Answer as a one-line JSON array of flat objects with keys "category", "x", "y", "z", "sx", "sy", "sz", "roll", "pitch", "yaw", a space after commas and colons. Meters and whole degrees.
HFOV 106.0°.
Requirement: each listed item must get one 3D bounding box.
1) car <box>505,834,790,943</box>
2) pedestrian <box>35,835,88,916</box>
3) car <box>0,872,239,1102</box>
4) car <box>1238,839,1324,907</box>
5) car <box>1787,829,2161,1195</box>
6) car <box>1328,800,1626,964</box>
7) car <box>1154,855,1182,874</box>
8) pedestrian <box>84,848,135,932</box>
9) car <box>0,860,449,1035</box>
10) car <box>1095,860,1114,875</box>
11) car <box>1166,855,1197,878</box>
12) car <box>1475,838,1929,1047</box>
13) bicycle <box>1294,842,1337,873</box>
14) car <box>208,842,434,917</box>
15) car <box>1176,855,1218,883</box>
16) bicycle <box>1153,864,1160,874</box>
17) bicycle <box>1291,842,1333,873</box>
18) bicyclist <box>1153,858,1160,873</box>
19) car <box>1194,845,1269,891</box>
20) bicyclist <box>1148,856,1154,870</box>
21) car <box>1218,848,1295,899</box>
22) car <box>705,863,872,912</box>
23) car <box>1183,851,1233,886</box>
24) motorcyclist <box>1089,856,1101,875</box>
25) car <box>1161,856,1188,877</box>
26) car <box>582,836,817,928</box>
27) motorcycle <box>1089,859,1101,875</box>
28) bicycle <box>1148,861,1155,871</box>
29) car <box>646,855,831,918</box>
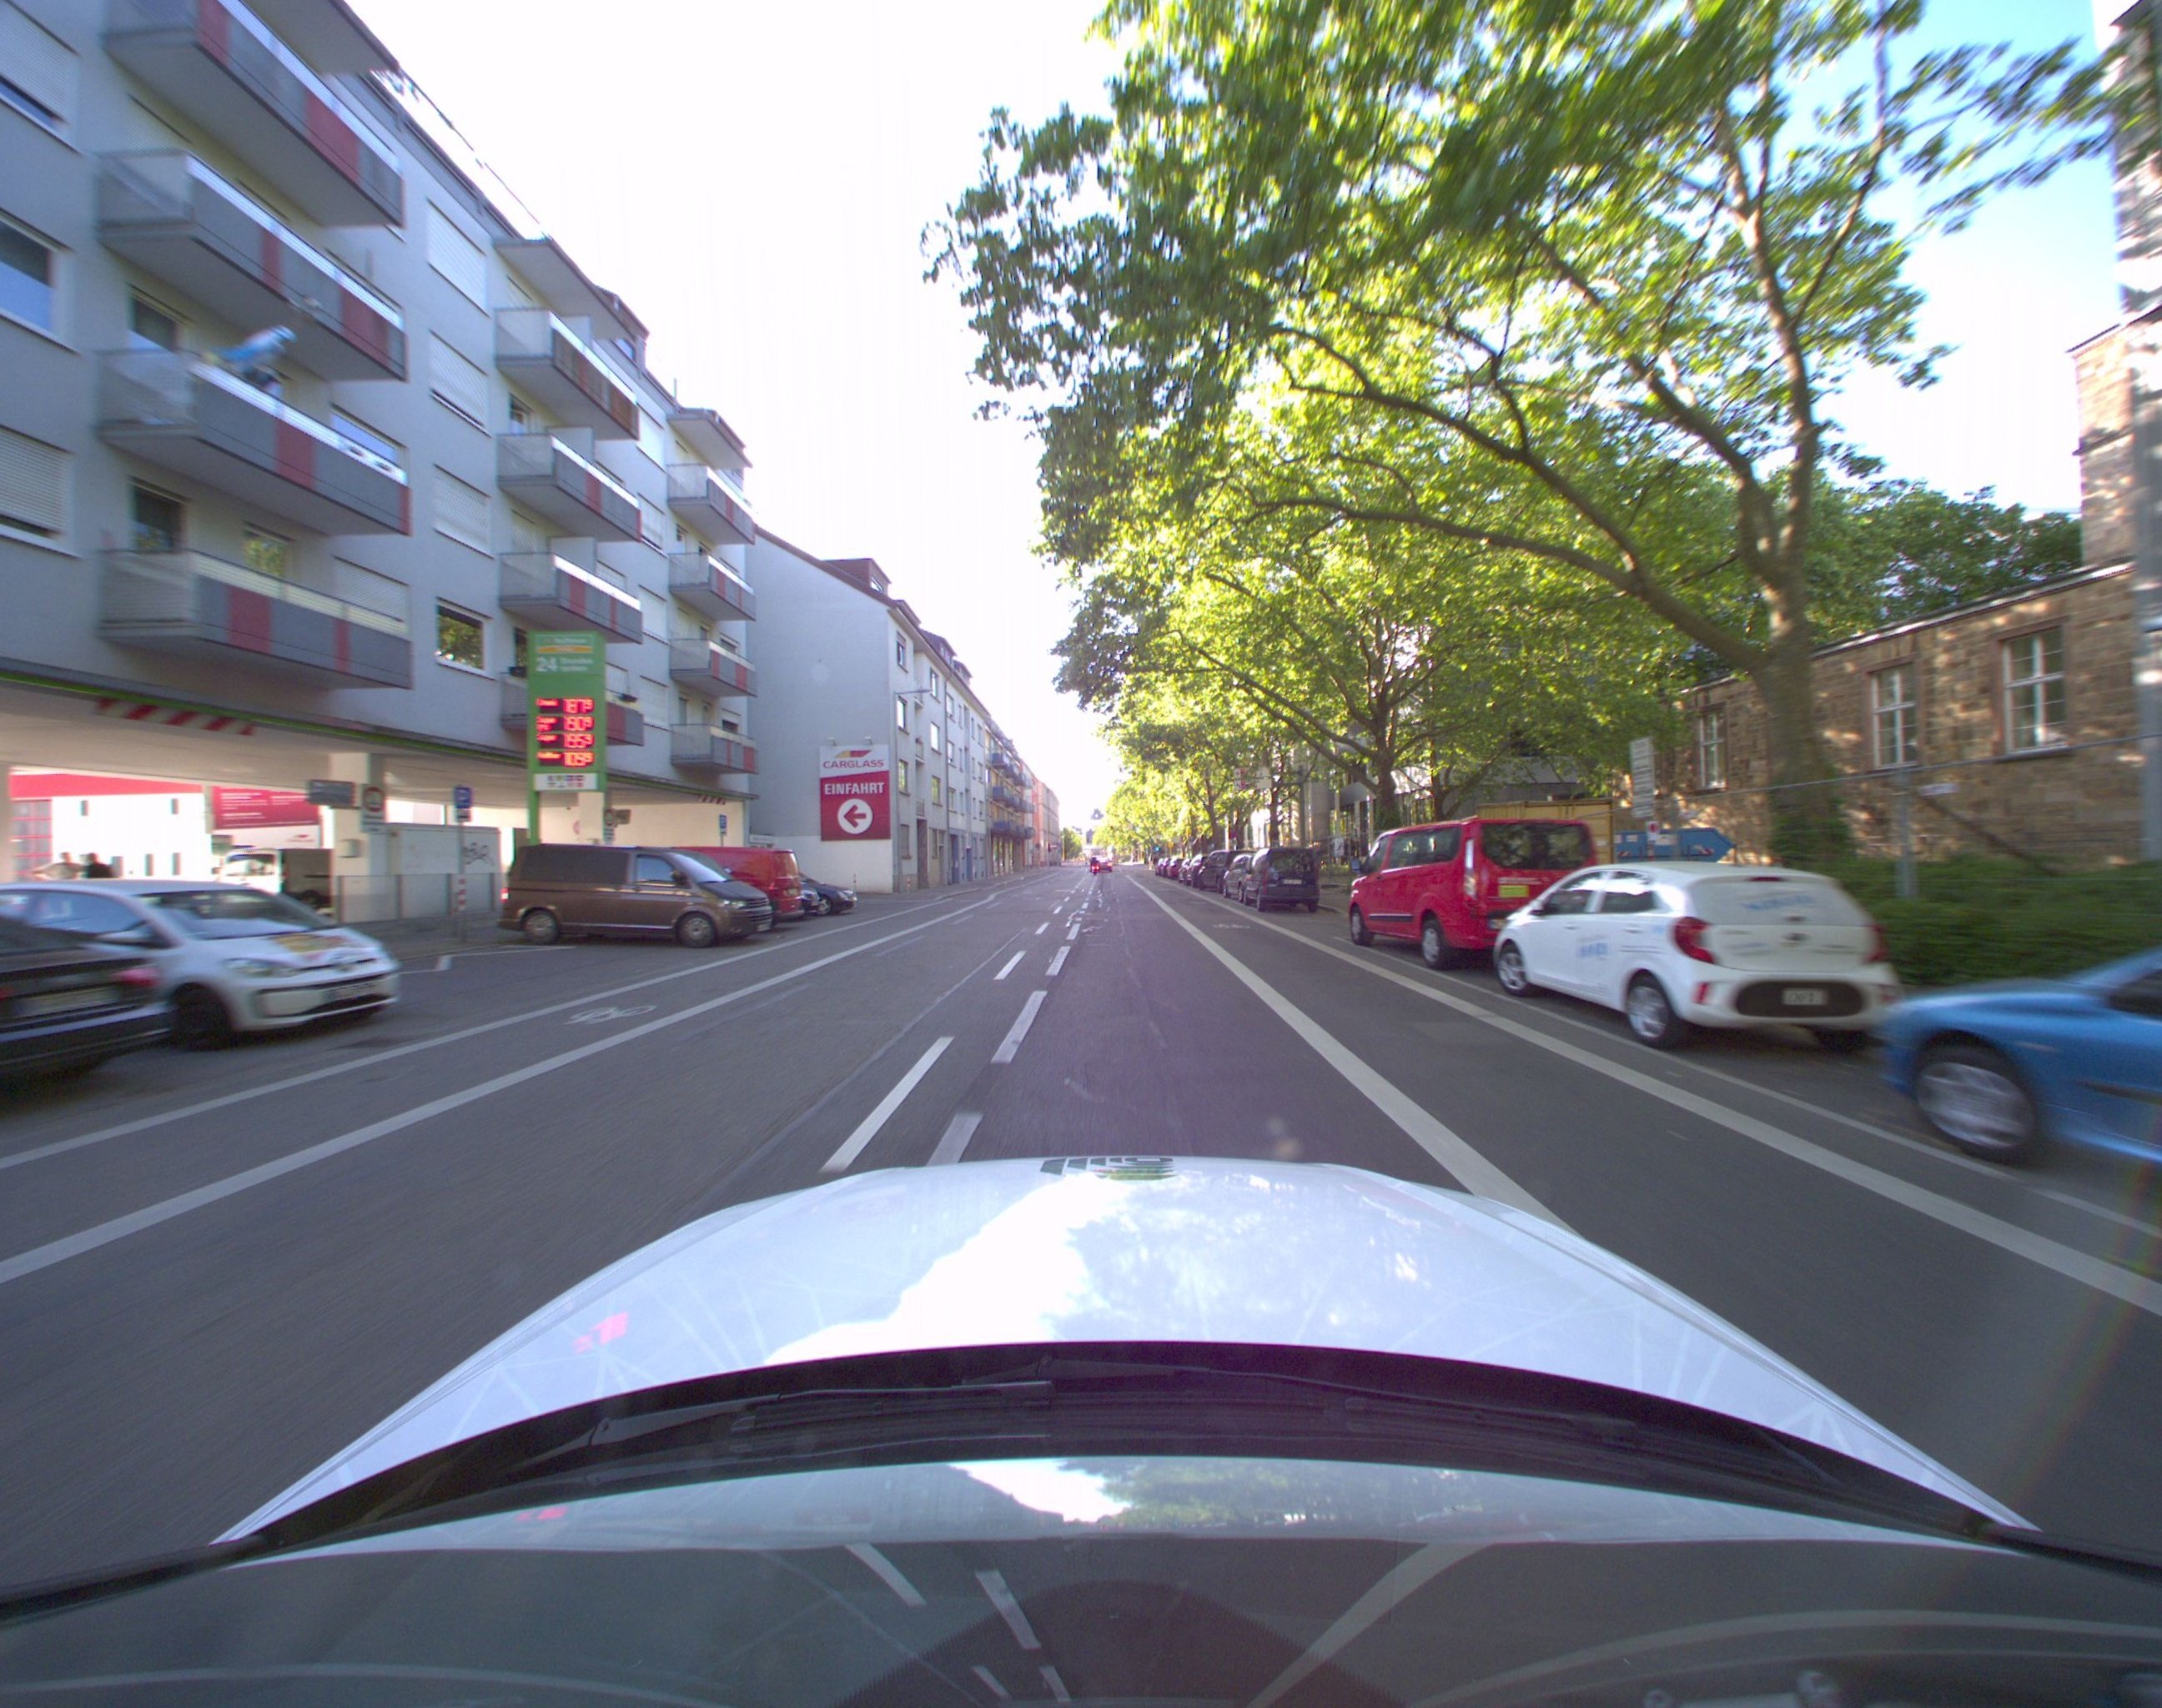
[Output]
[{"category": "car", "x": -8.460, "y": 0.653, "z": 16.221, "sx": 4.506, "sy": 1.952, "sz": 2.057, "roll": 1, "pitch": -1, "yaw": 1}, {"category": "pedestrian", "x": -21.168, "y": 0.436, "z": 16.920, "sx": 0.532, "sy": 1.649, "sz": 0.639, "roll": -2, "pitch": -1, "yaw": 45}, {"category": "car", "x": -8.902, "y": 0.873, "z": 5.715, "sx": 3.973, "sy": 1.456, "sz": 1.916, "roll": 0, "pitch": -1, "yaw": 1}, {"category": "car", "x": 5.767, "y": 0.524, "z": 23.887, "sx": 1.686, "sy": 1.813, "sz": 4.133, "roll": 1, "pitch": -1, "yaw": 3}, {"category": "car", "x": 5.403, "y": 0.666, "z": 3.193, "sx": 1.850, "sy": 1.511, "sz": 3.927, "roll": 1, "pitch": 0, "yaw": -1}, {"category": "car", "x": 5.633, "y": 0.371, "z": 12.563, "sx": 2.071, "sy": 1.994, "sz": 5.170, "roll": 0, "pitch": -1, "yaw": -1}, {"category": "car", "x": 6.946, "y": 0.863, "z": 65.502, "sx": 1.688, "sy": 1.449, "sz": 4.434, "roll": 1, "pitch": -1, "yaw": -1}, {"category": "pedestrian", "x": -20.230, "y": 0.738, "z": 16.962, "sx": 0.643, "sy": 1.702, "sz": 0.679, "roll": -1, "pitch": -1, "yaw": 40}, {"category": "car", "x": -8.903, "y": 0.835, "z": 8.151, "sx": 3.672, "sy": 1.513, "sz": 1.831, "roll": 1, "pitch": -1, "yaw": 1}, {"category": "car", "x": 2.302, "y": 1.374, "z": 80.803, "sx": 1.822, "sy": 1.420, "sz": 3.815, "roll": -1, "pitch": -1, "yaw": 1}, {"category": "car", "x": 6.755, "y": 0.862, "z": 54.961, "sx": 1.686, "sy": 1.479, "sz": 4.319, "roll": 1, "pitch": -1, "yaw": 2}, {"category": "car", "x": 5.394, "y": 0.649, "z": 7.775, "sx": 1.631, "sy": 1.485, "sz": 3.762, "roll": 1, "pitch": 0, "yaw": 3}, {"category": "bicycle", "x": 15.696, "y": 0.250, "z": 54.604, "sx": 2.588, "sy": 2.014, "sz": 0.742, "roll": -2, "pitch": -1, "yaw": 1}, {"category": "car", "x": -20.214, "y": 0.669, "z": 21.999, "sx": 1.714, "sy": 1.747, "sz": 4.586, "roll": -2, "pitch": -1, "yaw": 2}, {"category": "car", "x": 6.459, "y": 0.843, "z": 45.674, "sx": 1.688, "sy": 1.503, "sz": 4.018, "roll": 1, "pitch": -1, "yaw": -1}, {"category": "bicycle", "x": 7.988, "y": 1.575, "z": 85.986, "sx": 0.654, "sy": 1.070, "sz": 1.927, "roll": 0, "pitch": -1, "yaw": 1}, {"category": "bicycle", "x": 15.752, "y": 0.268, "z": 55.533, "sx": 2.588, "sy": 2.014, "sz": 0.742, "roll": -2, "pitch": -1, "yaw": 1}, {"category": "bicyclist", "x": 7.989, "y": 1.200, "z": 85.999, "sx": 0.654, "sy": 1.530, "sz": 0.852, "roll": 0, "pitch": -1, "yaw": 1}, {"category": "car", "x": 6.386, "y": 0.584, "z": 35.174, "sx": 1.823, "sy": 1.841, "sz": 4.887, "roll": 1, "pitch": -1, "yaw": -7}, {"category": "bicyclist", "x": 8.140, "y": 1.044, "z": 94.478, "sx": 0.654, "sy": 1.530, "sz": 0.906, "roll": 0, "pitch": -1, "yaw": 1}, {"category": "car", "x": 6.028, "y": 0.649, "z": 28.421, "sx": 1.688, "sy": 1.628, "sz": 4.328, "roll": 1, "pitch": -1, "yaw": -1}, {"category": "car", "x": -8.664, "y": 0.990, "z": 24.415, "sx": 4.213, "sy": 1.380, "sz": 2.046, "roll": 0, "pitch": -1, "yaw": 1}, {"category": "car", "x": 6.228, "y": 0.695, "z": 40.377, "sx": 1.770, "sy": 1.628, "sz": 4.619, "roll": 1, "pitch": -1, "yaw": 0}, {"category": "motorcyclist", "x": 1.185, "y": 0.987, "z": 70.167, "sx": 1.009, "sy": 1.602, "sz": 1.406, "roll": -2, "pitch": -1, "yaw": 1}, {"category": "car", "x": 6.880, "y": 0.911, "z": 60.295, "sx": 1.686, "sy": 1.466, "sz": 4.067, "roll": 1, "pitch": -1, "yaw": 2}, {"category": "car", "x": -8.760, "y": 0.626, "z": 19.044, "sx": 4.405, "sy": 1.952, "sz": 2.147, "roll": 1, "pitch": -1, "yaw": 1}, {"category": "motorcycle", "x": 1.191, "y": 1.140, "z": 70.187, "sx": 1.008, "sy": 1.306, "sz": 2.673, "roll": -2, "pitch": -1, "yaw": 1}, {"category": "bicycle", "x": 8.141, "y": 1.374, "z": 94.363, "sx": 0.654, "sy": 1.111, "sz": 2.185, "roll": 0, "pitch": -1, "yaw": 1}, {"category": "car", "x": -9.199, "y": 0.866, "z": 22.120, "sx": 4.158, "sy": 1.563, "sz": 1.887, "roll": 1, "pitch": -1, "yaw": 1}]
